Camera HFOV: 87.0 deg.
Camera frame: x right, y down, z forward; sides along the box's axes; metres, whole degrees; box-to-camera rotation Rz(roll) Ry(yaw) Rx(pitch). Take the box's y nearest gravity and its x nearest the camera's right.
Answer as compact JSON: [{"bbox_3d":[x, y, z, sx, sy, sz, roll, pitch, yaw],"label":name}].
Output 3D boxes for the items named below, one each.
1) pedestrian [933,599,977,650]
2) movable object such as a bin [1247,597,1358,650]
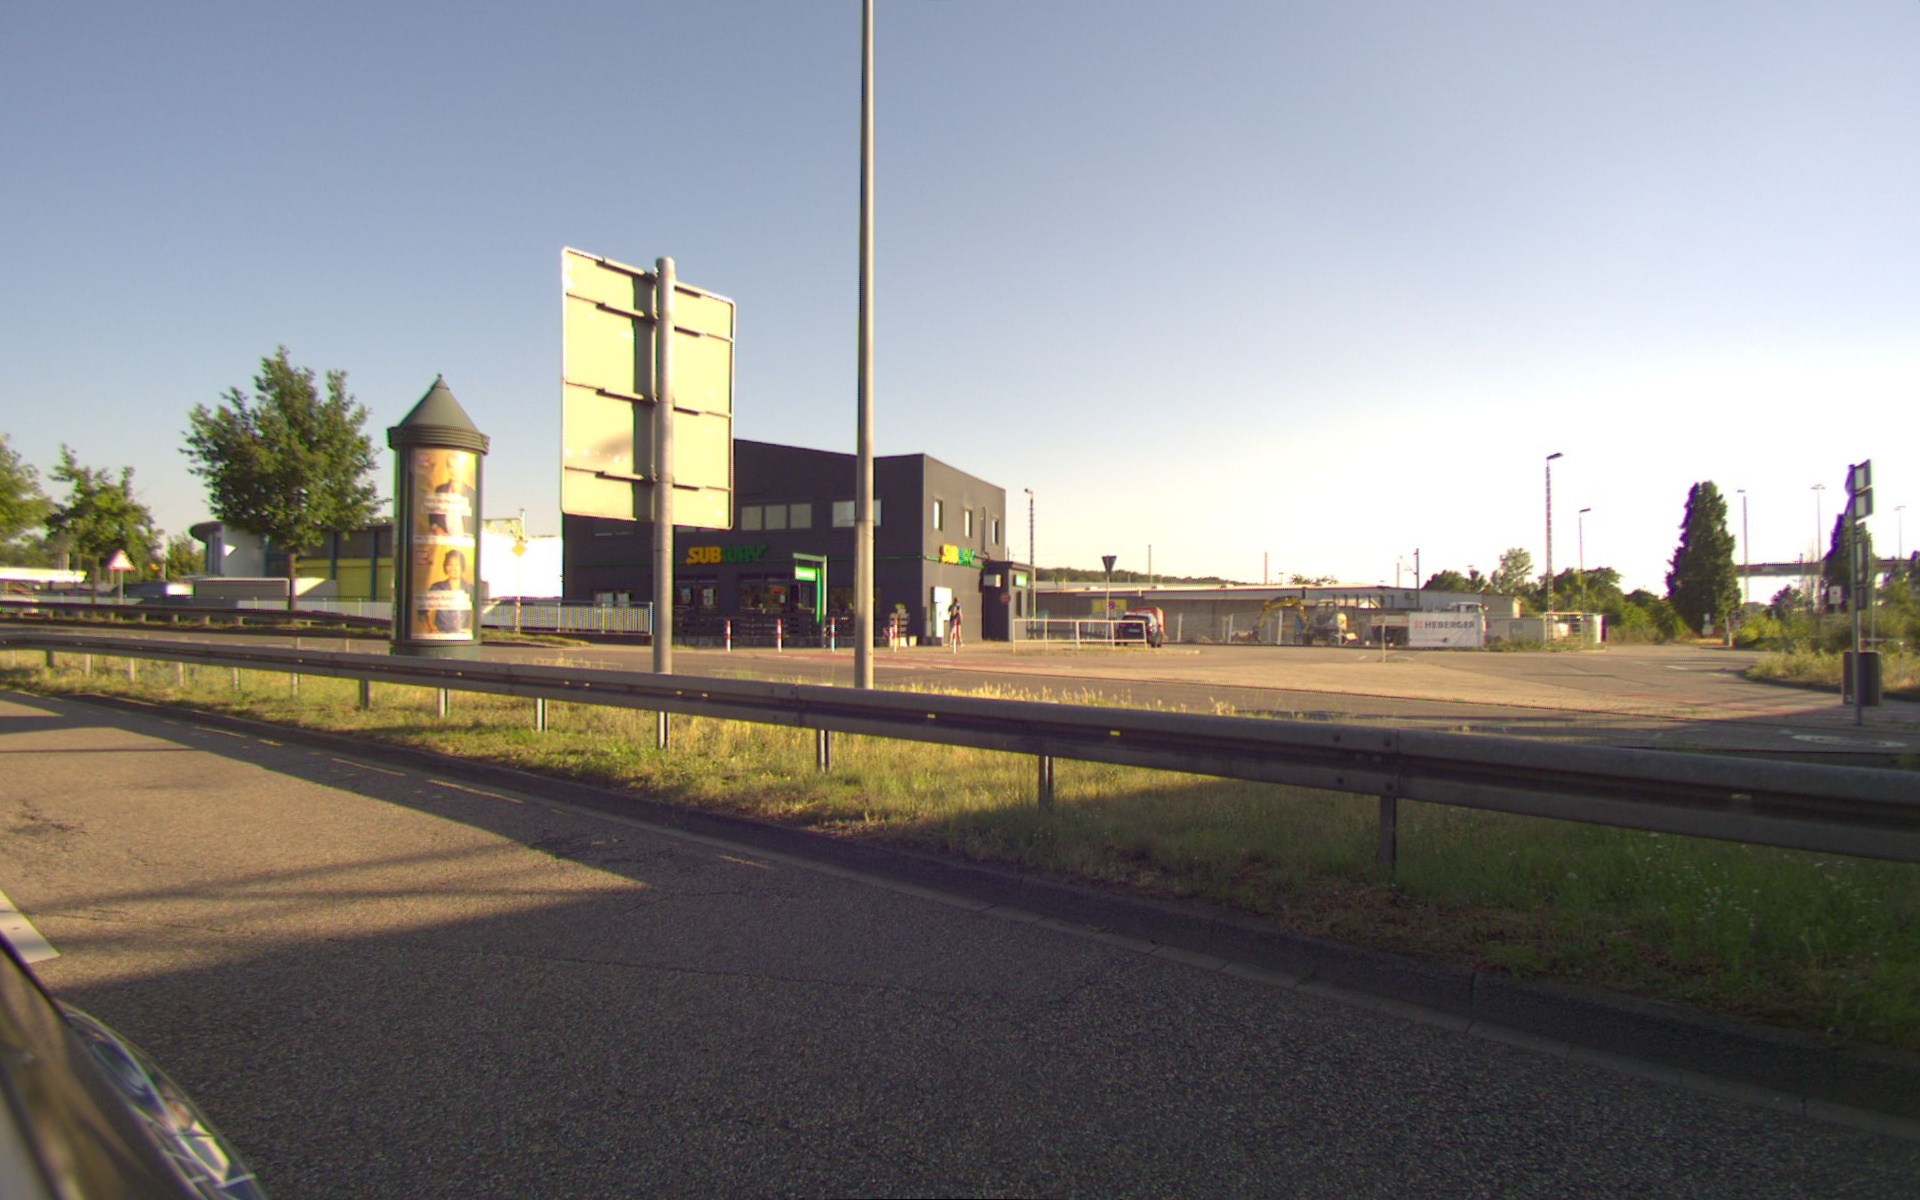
[{"bbox_3d":[-0.170,0.883,37.650,1.084,1.849,1.258,0,0,41],"label":"pedestrian"},{"bbox_3d":[21.966,1.474,64.891,6.585,3.241,2.429,0,0,22],"label":"movable object such as a bin"}]
